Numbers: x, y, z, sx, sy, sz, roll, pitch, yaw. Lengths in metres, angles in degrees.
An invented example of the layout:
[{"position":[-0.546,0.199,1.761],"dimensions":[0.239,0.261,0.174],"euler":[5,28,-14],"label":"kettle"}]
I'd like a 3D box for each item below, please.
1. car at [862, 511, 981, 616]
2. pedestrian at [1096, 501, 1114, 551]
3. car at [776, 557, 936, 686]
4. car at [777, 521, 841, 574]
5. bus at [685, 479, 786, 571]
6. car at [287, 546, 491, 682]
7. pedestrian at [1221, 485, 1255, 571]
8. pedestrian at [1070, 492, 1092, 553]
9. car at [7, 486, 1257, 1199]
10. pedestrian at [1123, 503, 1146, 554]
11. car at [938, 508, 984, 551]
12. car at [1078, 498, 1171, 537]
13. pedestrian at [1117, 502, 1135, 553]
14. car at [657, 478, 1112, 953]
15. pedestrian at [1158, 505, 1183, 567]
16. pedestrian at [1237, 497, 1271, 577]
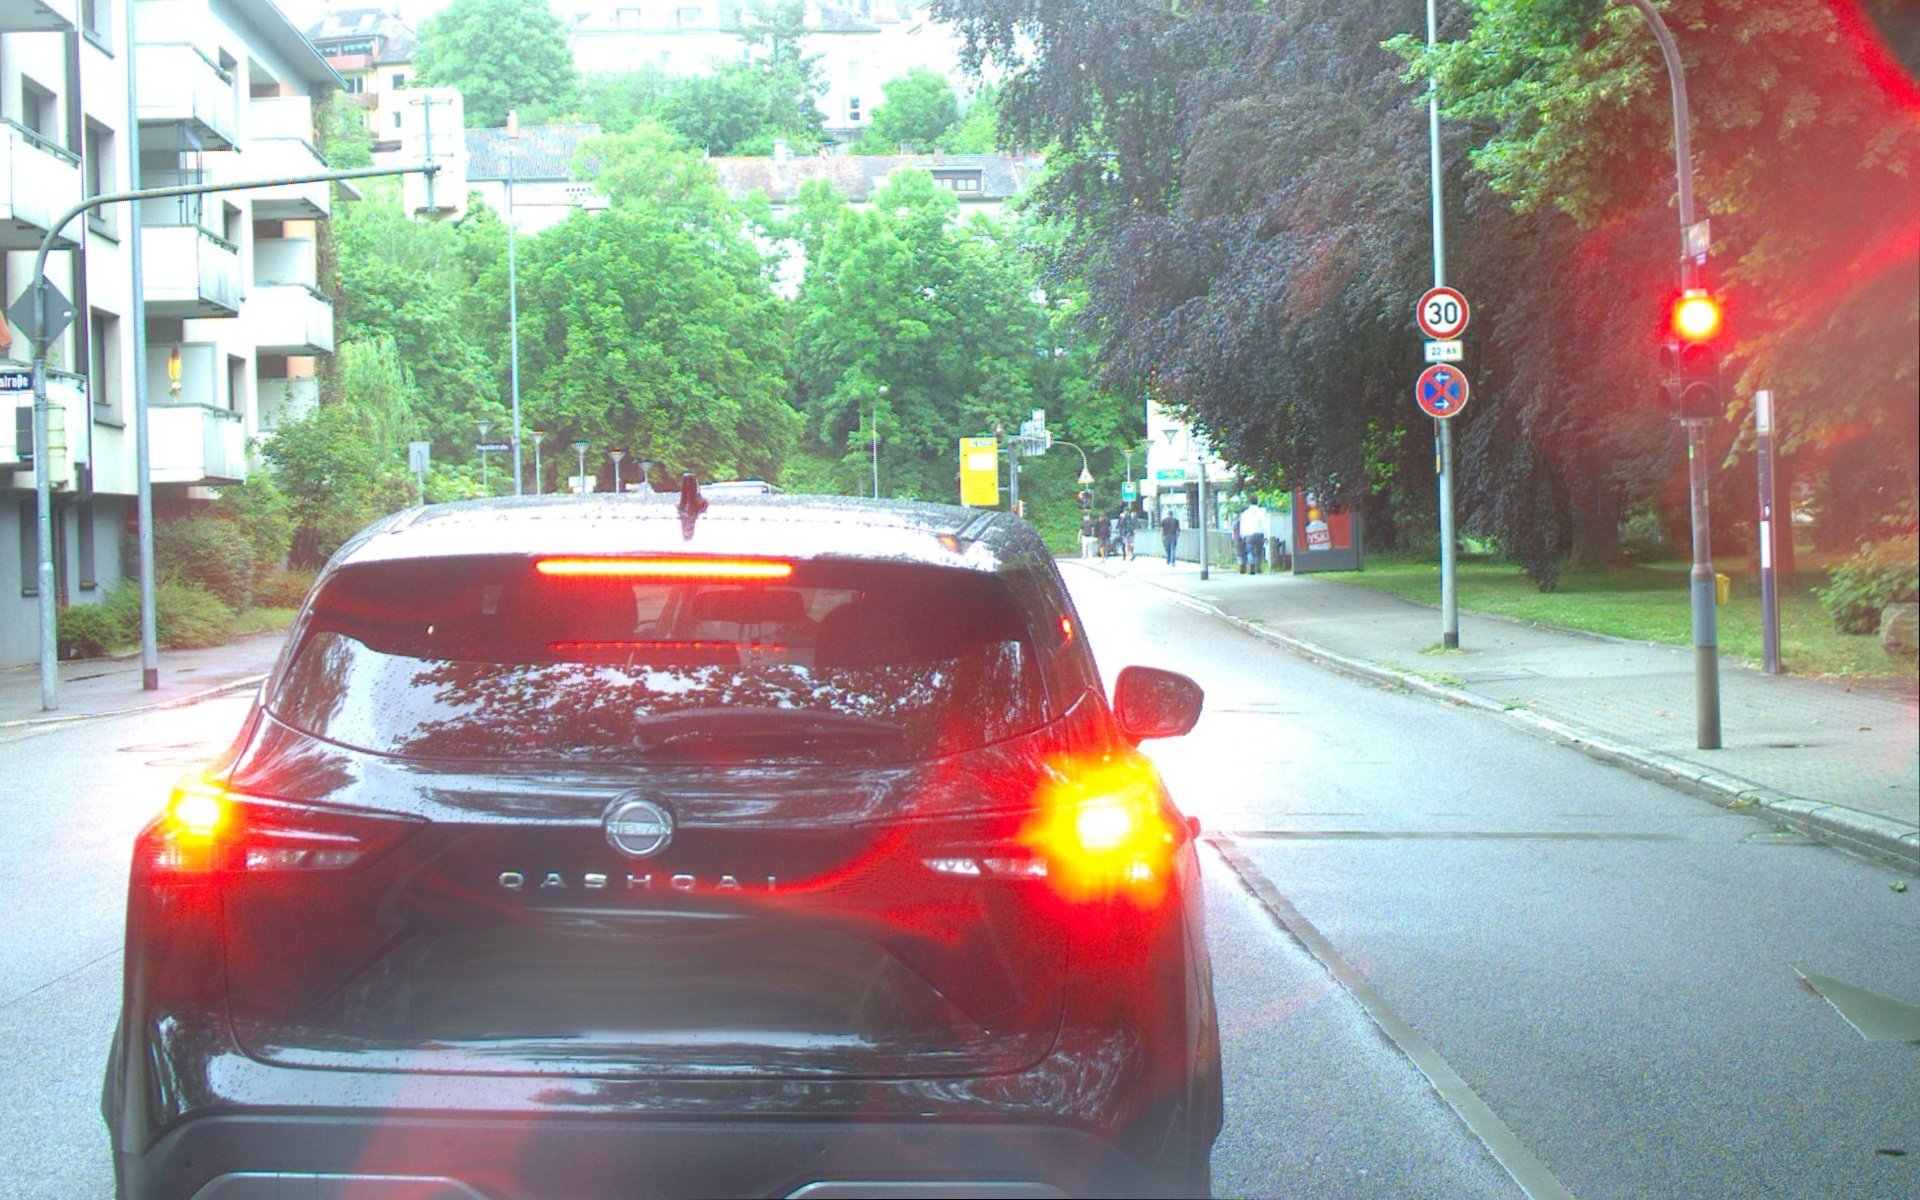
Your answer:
[{"position":[-0.546,-0.550,50.079],"dimensions":[1.624,1.410,3.455],"euler":[-2,1,0],"label":"car"},{"position":[4.738,-2.428,112.657],"dimensions":[0.544,1.645,0.490],"euler":[1,0,0],"label":"pedestrian"},{"position":[-1.242,0.219,41.091],"dimensions":[1.808,1.412,4.031],"euler":[0,1,-2],"label":"car"},{"position":[-4.297,-1.501,98.120],"dimensions":[1.624,1.410,3.455],"euler":[-2,1,0],"label":"car"},{"position":[-7.716,-2.579,119.437],"dimensions":[2.766,2.964,11.782],"euler":[-2,1,-1],"label":"bus"},{"position":[-6.742,0.125,40.956],"dimensions":[1.808,1.412,4.031],"euler":[-3,1,-2],"label":"car"},{"position":[6.637,-1.717,82.187],"dimensions":[0.675,2.007,0.777],"euler":[-2,1,-1],"label":"pedestrian"},{"position":[4.368,-2.804,124.142],"dimensions":[0.768,2.176,0.711],"euler":[1,0,3],"label":"pedestrian"},{"position":[-0.504,0.618,7.012],"dimensions":[1.806,1.584,4.000],"euler":[1,1,-1],"label":"car"},{"position":[5.704,-2.344,112.666],"dimensions":[0.699,1.645,0.628],"euler":[1,0,0],"label":"pedestrian"},{"position":[0.033,-2.791,136.382],"dimensions":[1.750,1.628,3.635],"euler":[-2,1,0],"label":"car"},{"position":[7.809,-3.907,163.177],"dimensions":[3.986,1.678,2.001],"euler":[-2,1,-10],"label":"car"},{"position":[5.401,-2.356,111.903],"dimensions":[0.514,1.650,0.550],"euler":[1,0,-1],"label":"pedestrian"},{"position":[-0.246,0.389,14.625],"dimensions":[1.622,1.703,3.771],"euler":[-2,1,1],"label":"car"},{"position":[6.036,-1.842,98.762],"dimensions":[0.618,1.773,0.551],"euler":[-2,1,-1],"label":"pedestrian"},{"position":[6.653,-1.429,77.870],"dimensions":[0.618,1.773,0.778],"euler":[-2,1,-1],"label":"pedestrian"}]
